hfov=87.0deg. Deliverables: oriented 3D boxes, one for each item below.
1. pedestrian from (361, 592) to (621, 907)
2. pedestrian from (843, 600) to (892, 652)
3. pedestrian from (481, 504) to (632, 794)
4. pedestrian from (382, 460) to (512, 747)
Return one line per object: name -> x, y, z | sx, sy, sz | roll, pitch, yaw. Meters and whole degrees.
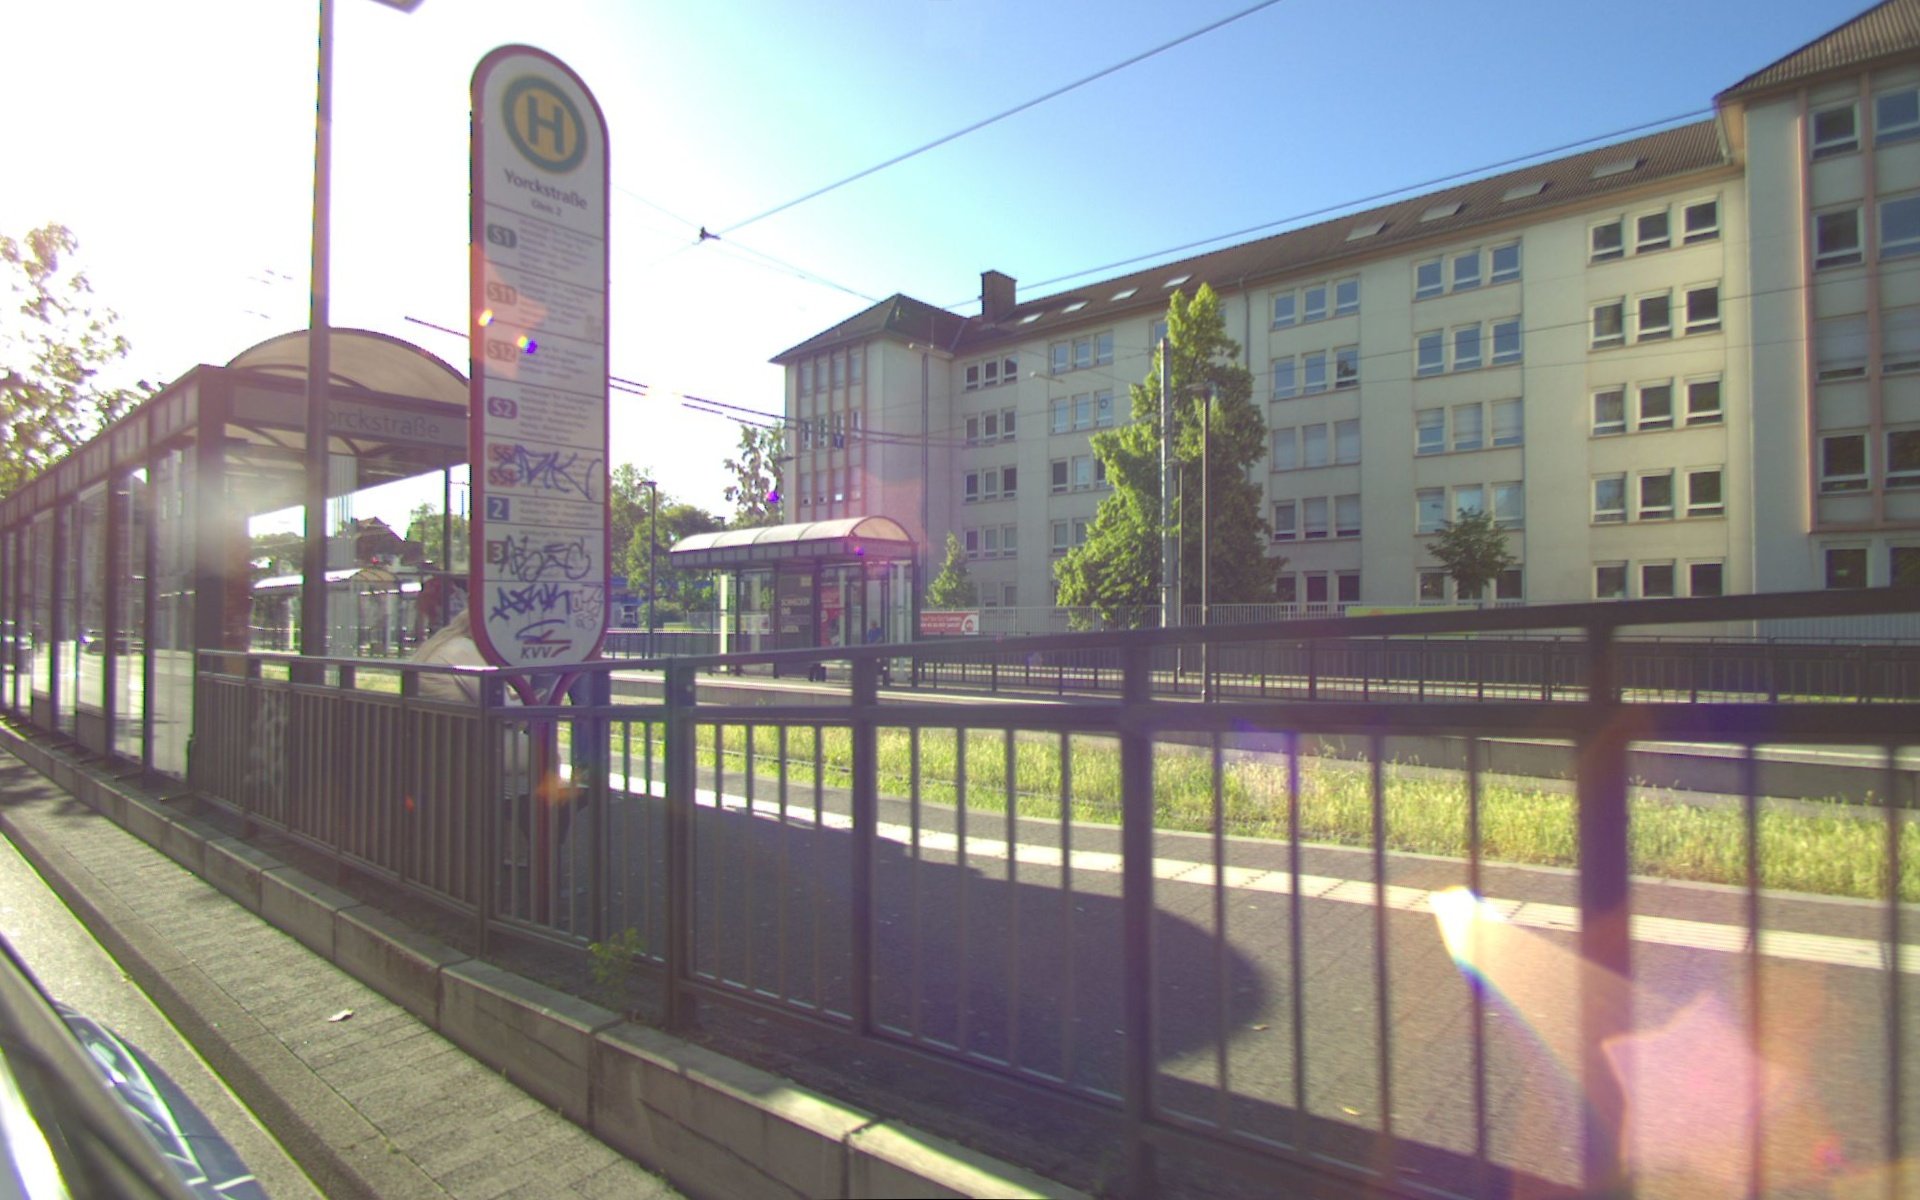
pedestrian -> -2.024, 0.573, 4.368 | 0.812, 1.188, 0.744 | -2, -1, 40
pedestrian -> -2.495, 0.696, 27.275 | 0.878, 1.386, 0.965 | -2, -2, 40
pedestrian -> -2.708, 0.313, 6.792 | 0.754, 1.797, 0.674 | -2, -2, 42
pedestrian -> -3.877, 0.032, 7.649 | 0.716, 2.029, 0.660 | -2, -2, 42
